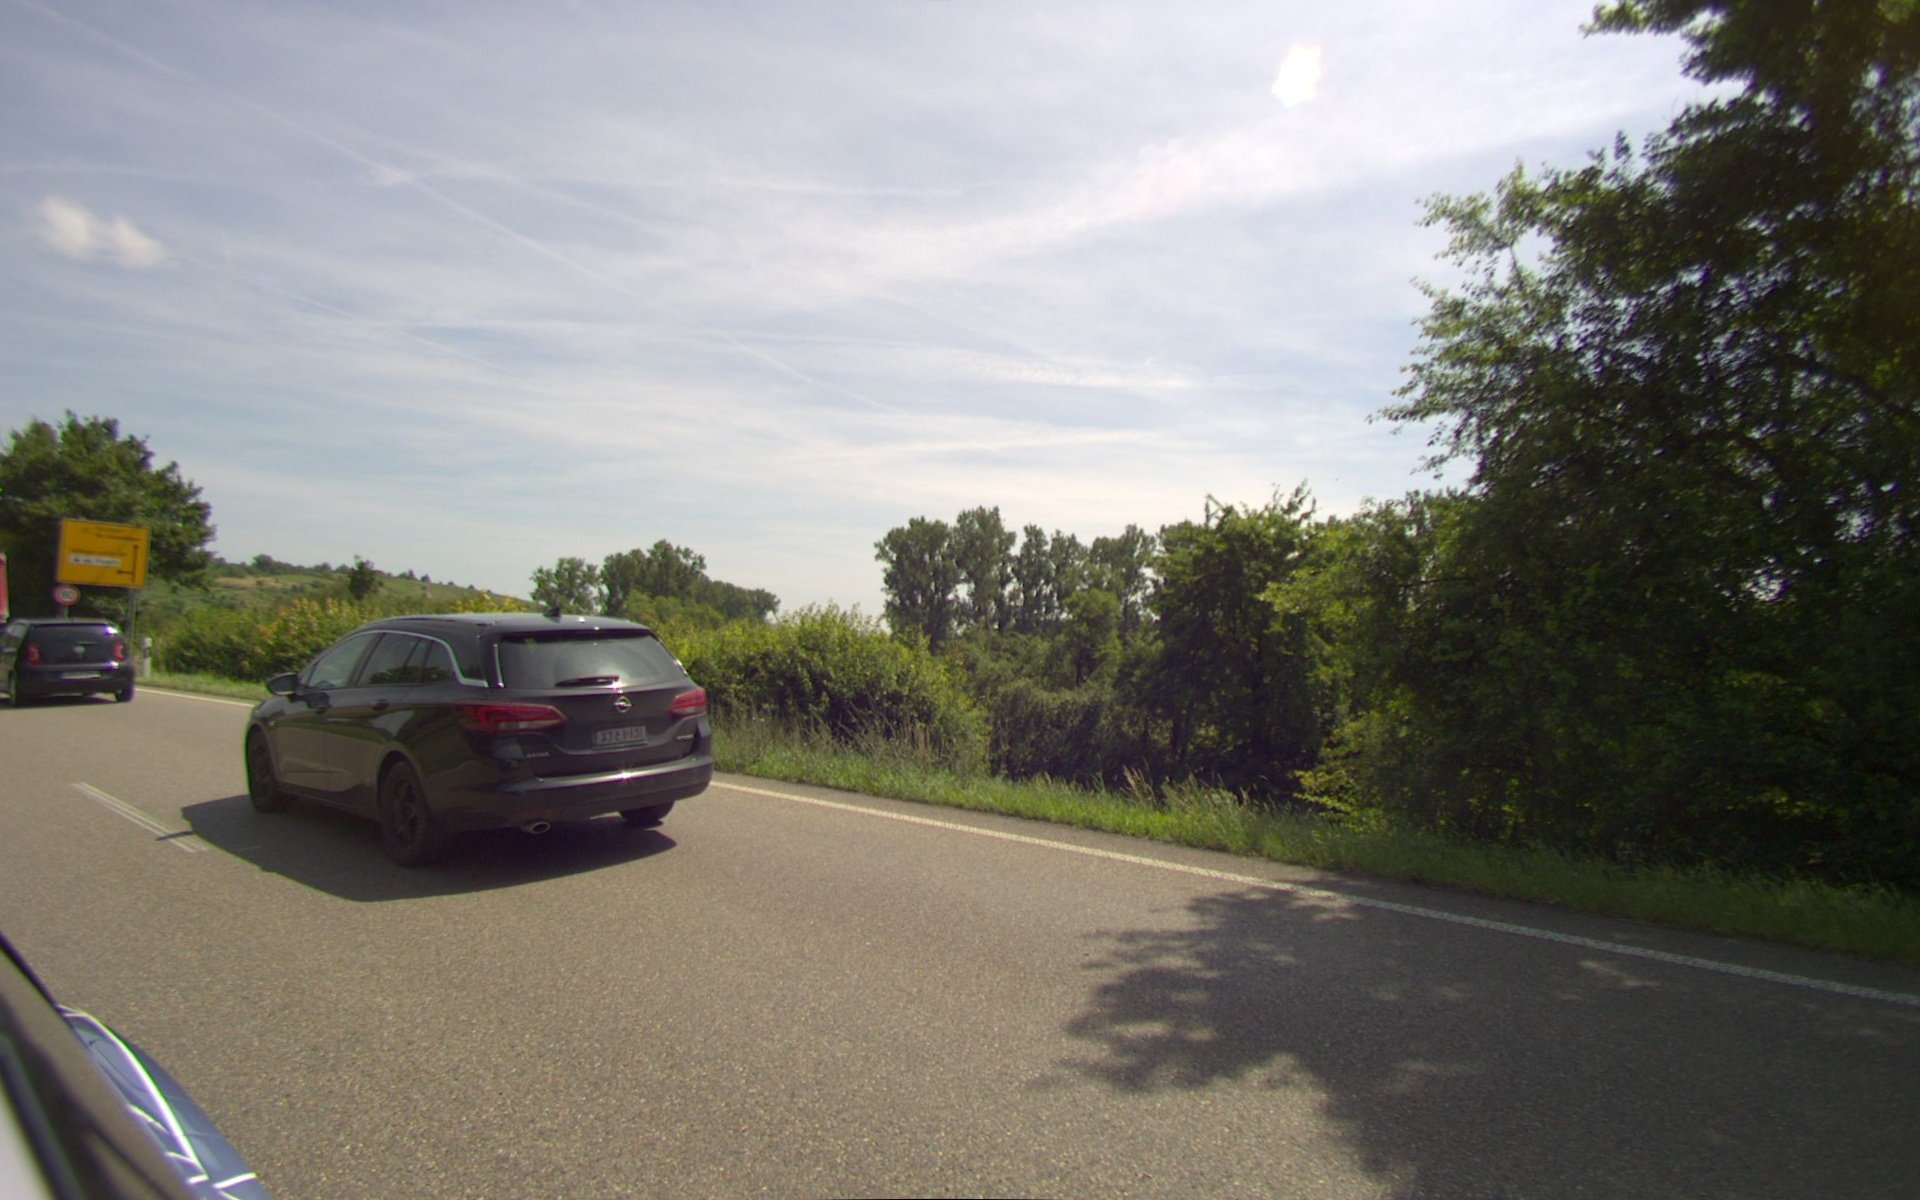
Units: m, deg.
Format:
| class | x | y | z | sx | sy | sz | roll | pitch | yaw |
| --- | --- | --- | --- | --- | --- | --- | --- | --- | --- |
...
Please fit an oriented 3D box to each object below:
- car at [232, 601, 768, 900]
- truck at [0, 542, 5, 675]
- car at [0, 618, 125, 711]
| class | x | y | z | sx | sy | sz | roll | pitch | yaw |
| --- | --- | --- | --- | --- | --- | --- | --- | --- | --- |
| car | -3.416 | 0.797 | 7.096 | 4.371 | 1.482 | 1.692 | -1 | -2 | 40 |
| truck | -30.770 | 0.278 | 29.010 | 12.606 | 3.479 | 2.530 | -1 | -1 | 35 |
| car | -15.950 | 1.069 | 17.756 | 3.269 | 1.482 | 1.415 | -1 | -1 | 40 |
